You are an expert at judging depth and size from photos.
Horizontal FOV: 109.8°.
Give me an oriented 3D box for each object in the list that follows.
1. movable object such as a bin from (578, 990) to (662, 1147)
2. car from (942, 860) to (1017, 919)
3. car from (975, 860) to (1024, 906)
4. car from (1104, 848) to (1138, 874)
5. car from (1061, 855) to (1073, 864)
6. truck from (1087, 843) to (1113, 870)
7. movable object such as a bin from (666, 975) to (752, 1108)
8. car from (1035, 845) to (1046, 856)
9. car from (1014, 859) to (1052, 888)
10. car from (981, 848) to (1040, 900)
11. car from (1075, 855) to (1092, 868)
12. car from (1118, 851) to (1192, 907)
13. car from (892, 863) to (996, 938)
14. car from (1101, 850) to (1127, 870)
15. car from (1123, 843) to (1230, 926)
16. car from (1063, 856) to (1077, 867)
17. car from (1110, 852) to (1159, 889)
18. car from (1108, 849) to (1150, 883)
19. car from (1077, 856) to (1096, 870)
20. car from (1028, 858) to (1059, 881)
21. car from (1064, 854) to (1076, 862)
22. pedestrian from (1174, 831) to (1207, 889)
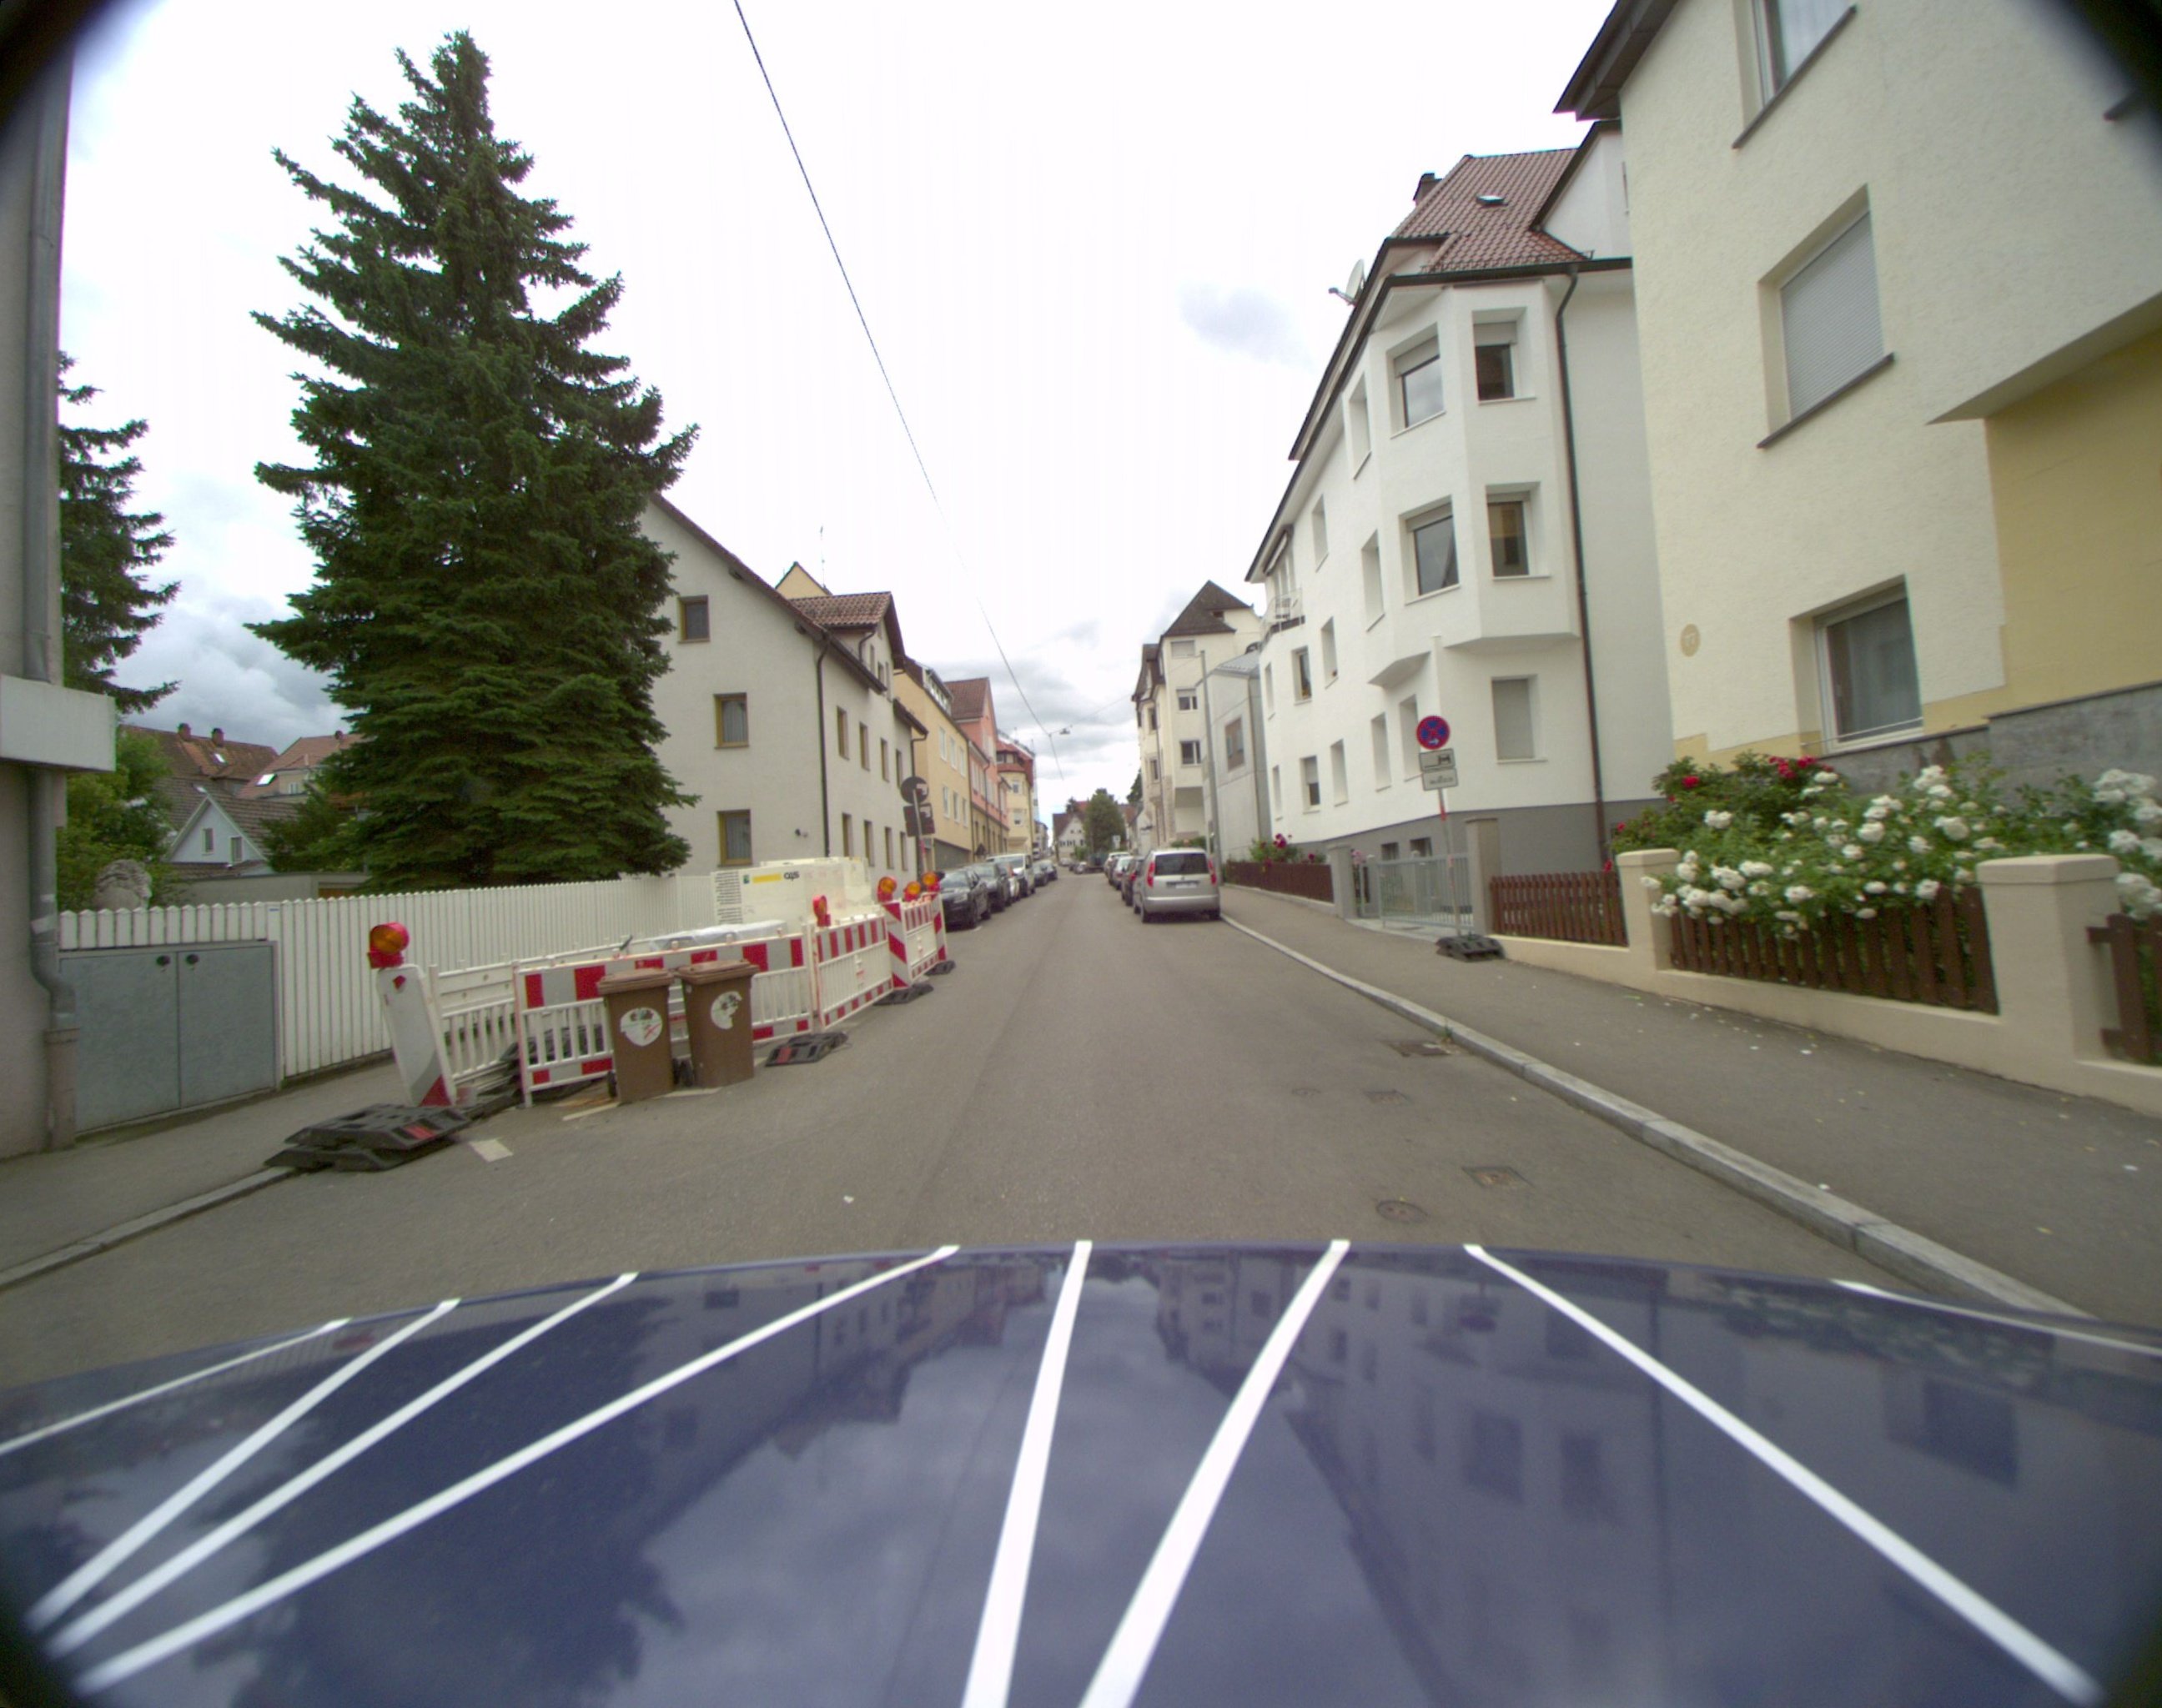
[{"bbox_3d":[-3.287,1.505,5.438,0.451,0.971,0.400,-1,-2,-23],"label":"movable object such as a bin"},{"bbox_3d":[-3.215,1.080,24.893,1.717,1.587,4.498,-5,0,0],"label":"car"},{"bbox_3d":[-3.137,1.094,29.571,1.490,1.587,2.791,-5,0,0],"label":"car"},{"bbox_3d":[2.578,0.470,50.113,1.850,1.506,4.240,-4,0,-1],"label":"car"},{"bbox_3d":[-2.726,1.020,144.591,1.856,1.441,3.943,-2,1,-6],"label":"car"},{"bbox_3d":[1.894,0.312,77.795,2.316,2.536,6.290,-2,-2,0],"label":"truck"},{"bbox_3d":[-2.783,1.380,5.686,0.400,0.887,0.364,-6,0,39],"label":"movable object such as a bin"},{"bbox_3d":[-9.797,-0.802,182.428,2.194,2.630,5.823,-2,0,-5],"label":"car"},{"bbox_3d":[-2.846,1.129,45.829,1.857,1.395,4.574,-7,1,0],"label":"car"},{"bbox_3d":[-3.103,0.864,34.555,1.910,2.018,5.733,-5,0,1],"label":"car"},{"bbox_3d":[0.304,1.045,101.239,1.855,1.640,3.946,-2,-1,-4],"label":"car"},{"bbox_3d":[2.158,0.694,23.389,1.849,1.449,4.504,-3,0,1],"label":"car"},{"bbox_3d":[-3.394,1.104,19.570,1.719,1.556,4.073,-5,0,1],"label":"car"},{"bbox_3d":[2.560,0.475,60.225,1.703,1.405,4.240,-4,0,-1],"label":"car"},{"bbox_3d":[2.106,0.655,17.956,1.850,1.621,4.286,-4,0,-1],"label":"car"},{"bbox_3d":[-1.770,1.198,120.098,1.856,1.641,3.944,-2,0,-6],"label":"car"},{"bbox_3d":[2.324,0.658,34.095,1.849,1.405,5.061,-3,0,1],"label":"car"},{"bbox_3d":[2.446,0.575,39.839,1.900,1.518,4.470,-3,1,1],"label":"car"},{"bbox_3d":[0.631,1.095,89.808,1.855,1.454,3.946,-2,-1,-4],"label":"car"},{"bbox_3d":[-2.627,1.090,54.400,1.857,1.395,4.292,-5,0,1],"label":"car"},{"bbox_3d":[-2.059,0.770,137.854,1.856,1.441,3.944,-2,0,-6],"label":"car"},{"bbox_3d":[3.699,0.199,25.688,0.817,1.873,0.848,-3,0,23],"label":"pedestrian"}]
